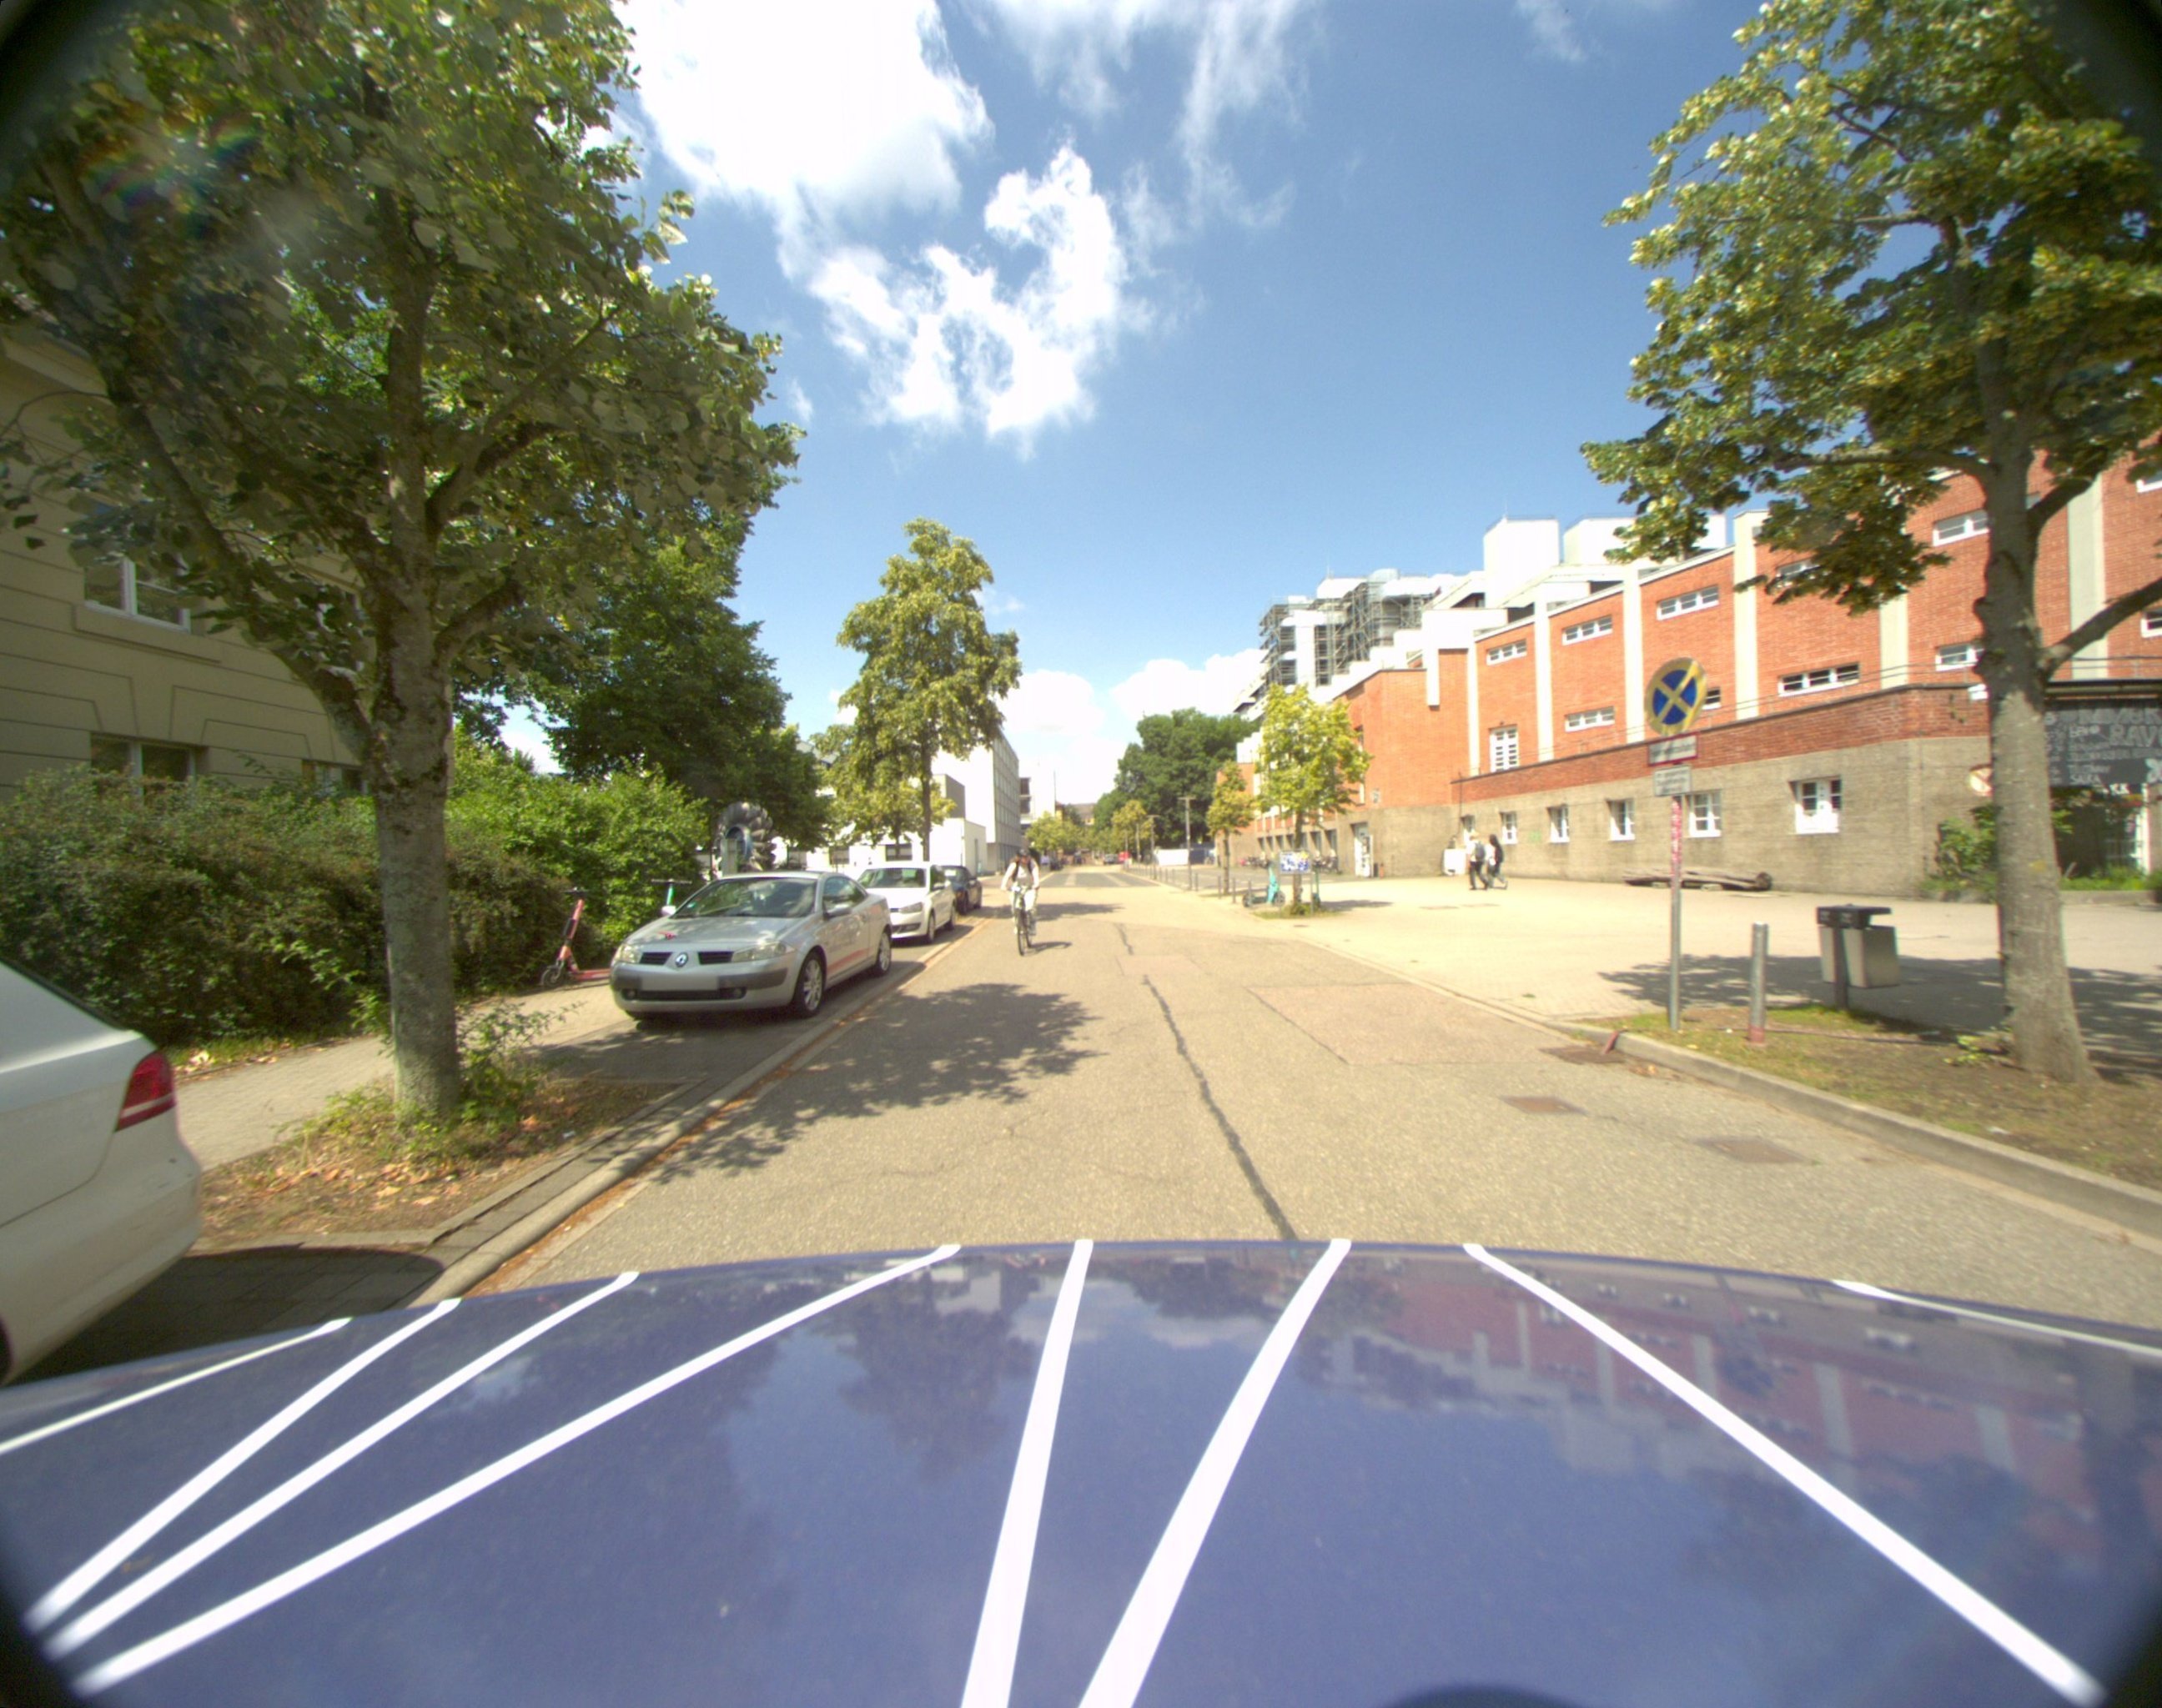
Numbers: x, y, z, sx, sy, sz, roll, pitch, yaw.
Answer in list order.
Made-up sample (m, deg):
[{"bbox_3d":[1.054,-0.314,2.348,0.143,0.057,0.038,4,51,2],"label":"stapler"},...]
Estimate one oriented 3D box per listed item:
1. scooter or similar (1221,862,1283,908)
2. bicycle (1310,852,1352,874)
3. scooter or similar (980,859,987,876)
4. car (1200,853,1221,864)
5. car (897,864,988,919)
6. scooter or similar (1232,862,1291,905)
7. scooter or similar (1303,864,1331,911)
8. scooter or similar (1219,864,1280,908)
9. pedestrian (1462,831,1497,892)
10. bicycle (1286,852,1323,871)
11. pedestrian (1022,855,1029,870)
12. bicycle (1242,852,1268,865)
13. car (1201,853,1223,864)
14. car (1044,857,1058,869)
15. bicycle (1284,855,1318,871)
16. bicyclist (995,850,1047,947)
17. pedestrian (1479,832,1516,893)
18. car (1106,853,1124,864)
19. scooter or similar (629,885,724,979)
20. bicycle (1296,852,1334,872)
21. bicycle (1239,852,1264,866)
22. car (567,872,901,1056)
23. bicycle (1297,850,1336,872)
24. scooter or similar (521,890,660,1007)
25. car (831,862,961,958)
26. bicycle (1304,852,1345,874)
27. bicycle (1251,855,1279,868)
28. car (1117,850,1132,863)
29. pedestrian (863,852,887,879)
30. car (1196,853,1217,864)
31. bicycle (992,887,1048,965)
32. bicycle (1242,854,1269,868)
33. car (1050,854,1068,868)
[{"bbox_3d":[4.703,0.848,20.922,1.571,1.218,0.525,-2,1,27],"label":"scooter or similar"},{"bbox_3d":[13.359,0.468,40.611,2.027,1.119,0.667,-2,1,-1],"label":"bicycle"},{"bbox_3d":[-7.243,0.974,56.467,0.327,1.228,1.073,-2,0,3],"label":"scooter or similar"},{"bbox_3d":[14.603,0.522,85.512,2.289,1.173,0.524,-2,1,1],"label":"car"},{"bbox_3d":[-3.739,0.965,21.151,1.712,1.273,4.000,-2,0,1],"label":"car"},{"bbox_3d":[5.342,0.869,22.510,1.571,1.218,0.571,-2,1,27],"label":"scooter or similar"},{"bbox_3d":[6.233,0.869,20.089,0.564,1.142,1.351,-2,1,12],"label":"scooter or similar"},{"bbox_3d":[4.806,0.905,21.685,1.571,1.218,0.566,-2,1,27],"label":"scooter or similar"},{"bbox_3d":[11.895,0.222,22.704,0.564,1.752,0.805,-2,1,-1],"label":"pedestrian"},{"bbox_3d":[13.654,0.459,46.507,2.027,1.055,0.663,-2,1,-1],"label":"bicycle"},{"bbox_3d":[-5.345,0.787,72.679,0.525,1.430,0.701,-2,1,3],"label":"pedestrian"},{"bbox_3d":[14.054,0.377,61.530,1.955,1.024,0.518,-2,1,-1],"label":"bicycle"},{"bbox_3d":[14.424,0.519,83.707,2.368,1.173,0.794,-2,0,1],"label":"car"},{"bbox_3d":[-3.427,1.021,87.944,1.552,1.377,3.453,-2,0,-2],"label":"car"},{"bbox_3d":[13.996,0.566,48.393,1.955,0.954,0.684,-2,0,-1],"label":"bicycle"},{"bbox_3d":[-0.957,0.685,12.353,0.675,1.470,1.062,-2,2,2],"label":"bicyclist"},{"bbox_3d":[12.503,0.243,22.826,0.577,1.769,0.917,-1,1,-1],"label":"pedestrian"},{"bbox_3d":[6.489,0.834,143.428,2.023,2.079,4.439,-2,0,21],"label":"car"},{"bbox_3d":[-5.774,1.079,10.912,0.521,1.214,1.237,-1,0,10],"label":"scooter or similar"},{"bbox_3d":[13.824,0.463,44.834,2.015,1.076,0.621,-2,1,-1],"label":"bicycle"},{"bbox_3d":[13.983,0.399,62.295,1.955,1.024,0.542,-2,1,-1],"label":"bicycle"},{"bbox_3d":[-3.302,0.945,8.185,1.650,1.382,3.989,-1,0,2],"label":"car"},{"bbox_3d":[13.476,0.390,43.460,2.026,1.119,0.439,-3,1,4],"label":"bicycle"},{"bbox_3d":[-5.840,1.078,9.097,0.595,1.259,1.268,-2,-1,37],"label":"scooter or similar"},{"bbox_3d":[-3.318,0.931,14.349,1.591,1.458,3.987,-1,0,-2],"label":"car"},{"bbox_3d":[13.601,0.502,42.468,2.026,1.119,0.592,-2,1,1],"label":"bicycle"},{"bbox_3d":[13.909,0.581,57.379,1.955,0.935,0.569,-2,1,-1],"label":"bicycle"},{"bbox_3d":[6.705,0.354,117.201,1.912,1.870,4.002,-2,0,7],"label":"car"},{"bbox_3d":[-13.935,0.768,51.319,1.168,1.789,1.023,0,0,28],"label":"pedestrian"},{"bbox_3d":[14.487,0.536,87.966,2.325,1.173,0.479,-2,1,1],"label":"car"},{"bbox_3d":[-0.972,1.140,12.534,0.675,1.066,2.136,-1,0,1],"label":"bicycle"},{"bbox_3d":[13.567,0.550,59.029,1.955,1.024,0.530,-2,1,-1],"label":"bicycle"},{"bbox_3d":[-2.747,0.842,96.241,1.939,1.671,3.470,-1,0,4],"label":"car"}]
